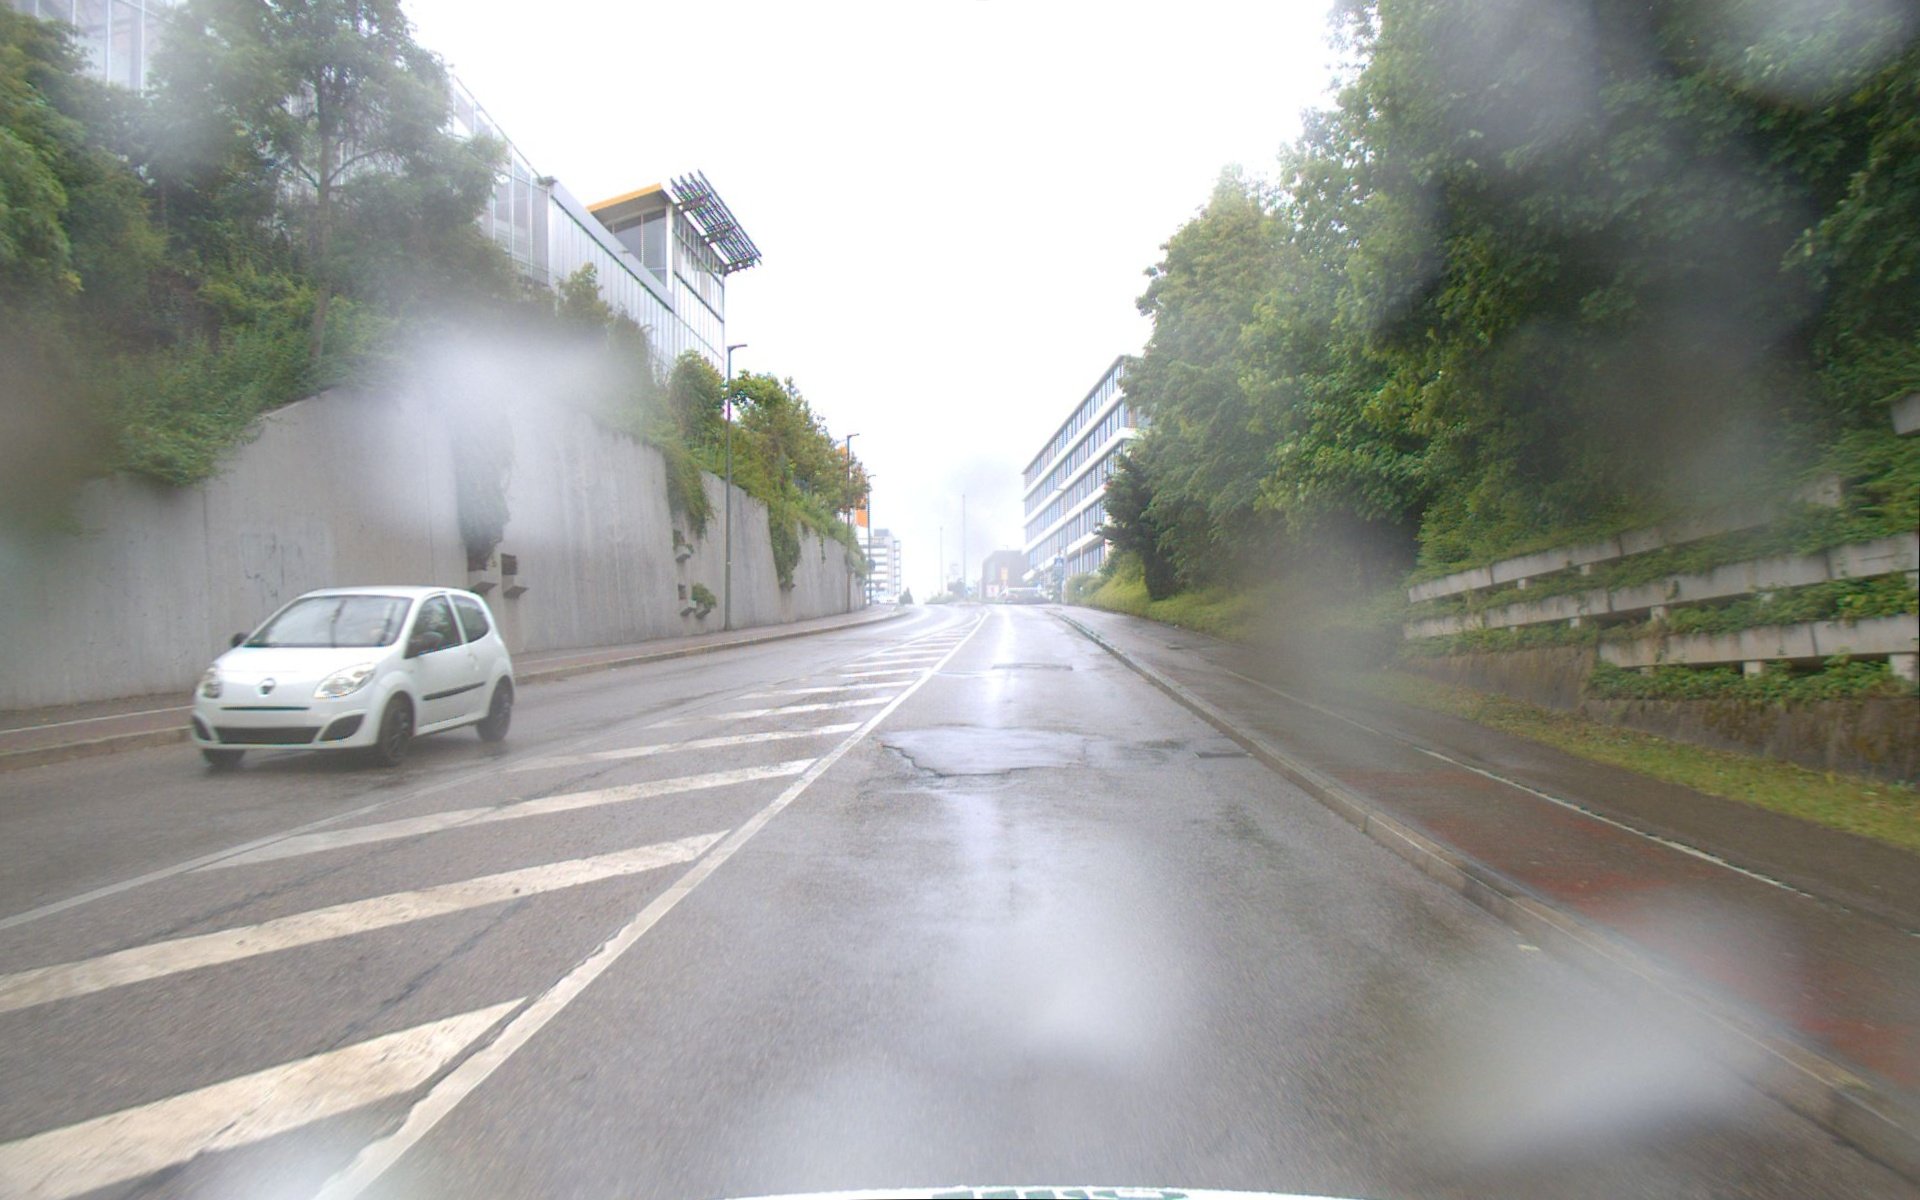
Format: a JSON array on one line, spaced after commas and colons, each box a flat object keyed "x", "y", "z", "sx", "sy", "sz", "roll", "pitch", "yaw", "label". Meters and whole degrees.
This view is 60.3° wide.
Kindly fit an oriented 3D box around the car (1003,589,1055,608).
[{"x": 5.748, "y": -0.139, "z": 138.335, "sx": 4.112, "sy": 1.434, "sz": 1.801, "roll": 0, "pitch": -3, "yaw": 10, "label": "car"}]

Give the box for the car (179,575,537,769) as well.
[{"x": -5.157, "y": 0.545, "z": 14.707, "sx": 1.480, "sy": 1.474, "sz": 3.819, "roll": 1, "pitch": 0, "yaw": 5, "label": "car"}]

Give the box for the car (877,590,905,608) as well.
[{"x": -5.915, "y": -0.081, "z": 141.866, "sx": 1.612, "sy": 1.386, "sz": 4.235, "roll": 2, "pitch": 0, "yaw": -13, "label": "car"}]
